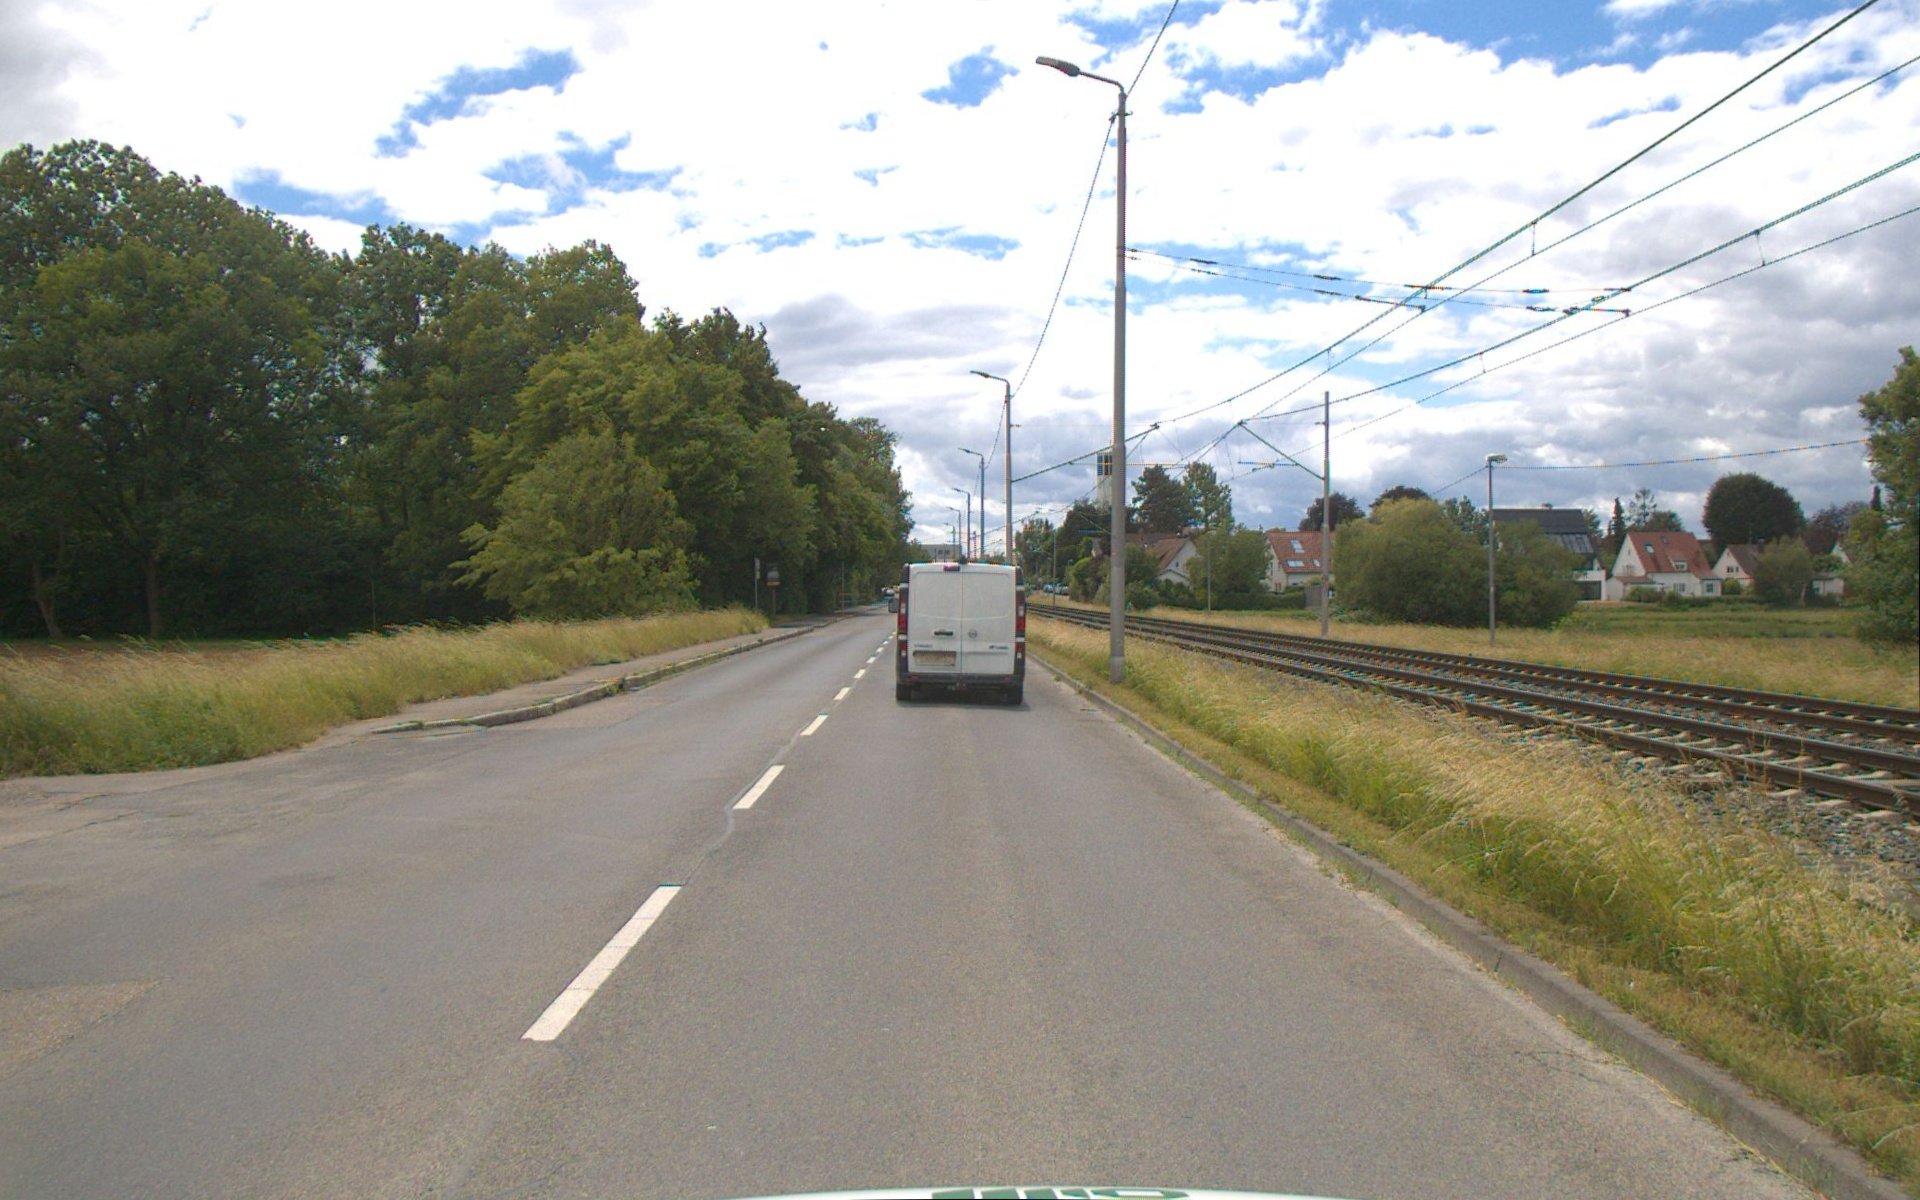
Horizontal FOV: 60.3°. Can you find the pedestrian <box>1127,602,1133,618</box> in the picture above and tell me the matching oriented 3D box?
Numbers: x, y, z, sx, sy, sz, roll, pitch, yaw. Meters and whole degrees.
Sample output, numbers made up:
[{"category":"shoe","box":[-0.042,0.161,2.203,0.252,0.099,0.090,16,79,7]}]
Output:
[{"category":"pedestrian","box":[16.408,0.918,159.420,0.515,1.532,0.656,0,0,-2]}]

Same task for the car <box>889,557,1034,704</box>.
[{"category":"car","box":[-0.047,0.431,24.546,1.953,1.991,3.998,1,0,-2]}]

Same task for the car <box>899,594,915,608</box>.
[{"category":"car","box":[-6.618,0.088,205.701,1.953,1.747,4.122,0,0,-1]}]
